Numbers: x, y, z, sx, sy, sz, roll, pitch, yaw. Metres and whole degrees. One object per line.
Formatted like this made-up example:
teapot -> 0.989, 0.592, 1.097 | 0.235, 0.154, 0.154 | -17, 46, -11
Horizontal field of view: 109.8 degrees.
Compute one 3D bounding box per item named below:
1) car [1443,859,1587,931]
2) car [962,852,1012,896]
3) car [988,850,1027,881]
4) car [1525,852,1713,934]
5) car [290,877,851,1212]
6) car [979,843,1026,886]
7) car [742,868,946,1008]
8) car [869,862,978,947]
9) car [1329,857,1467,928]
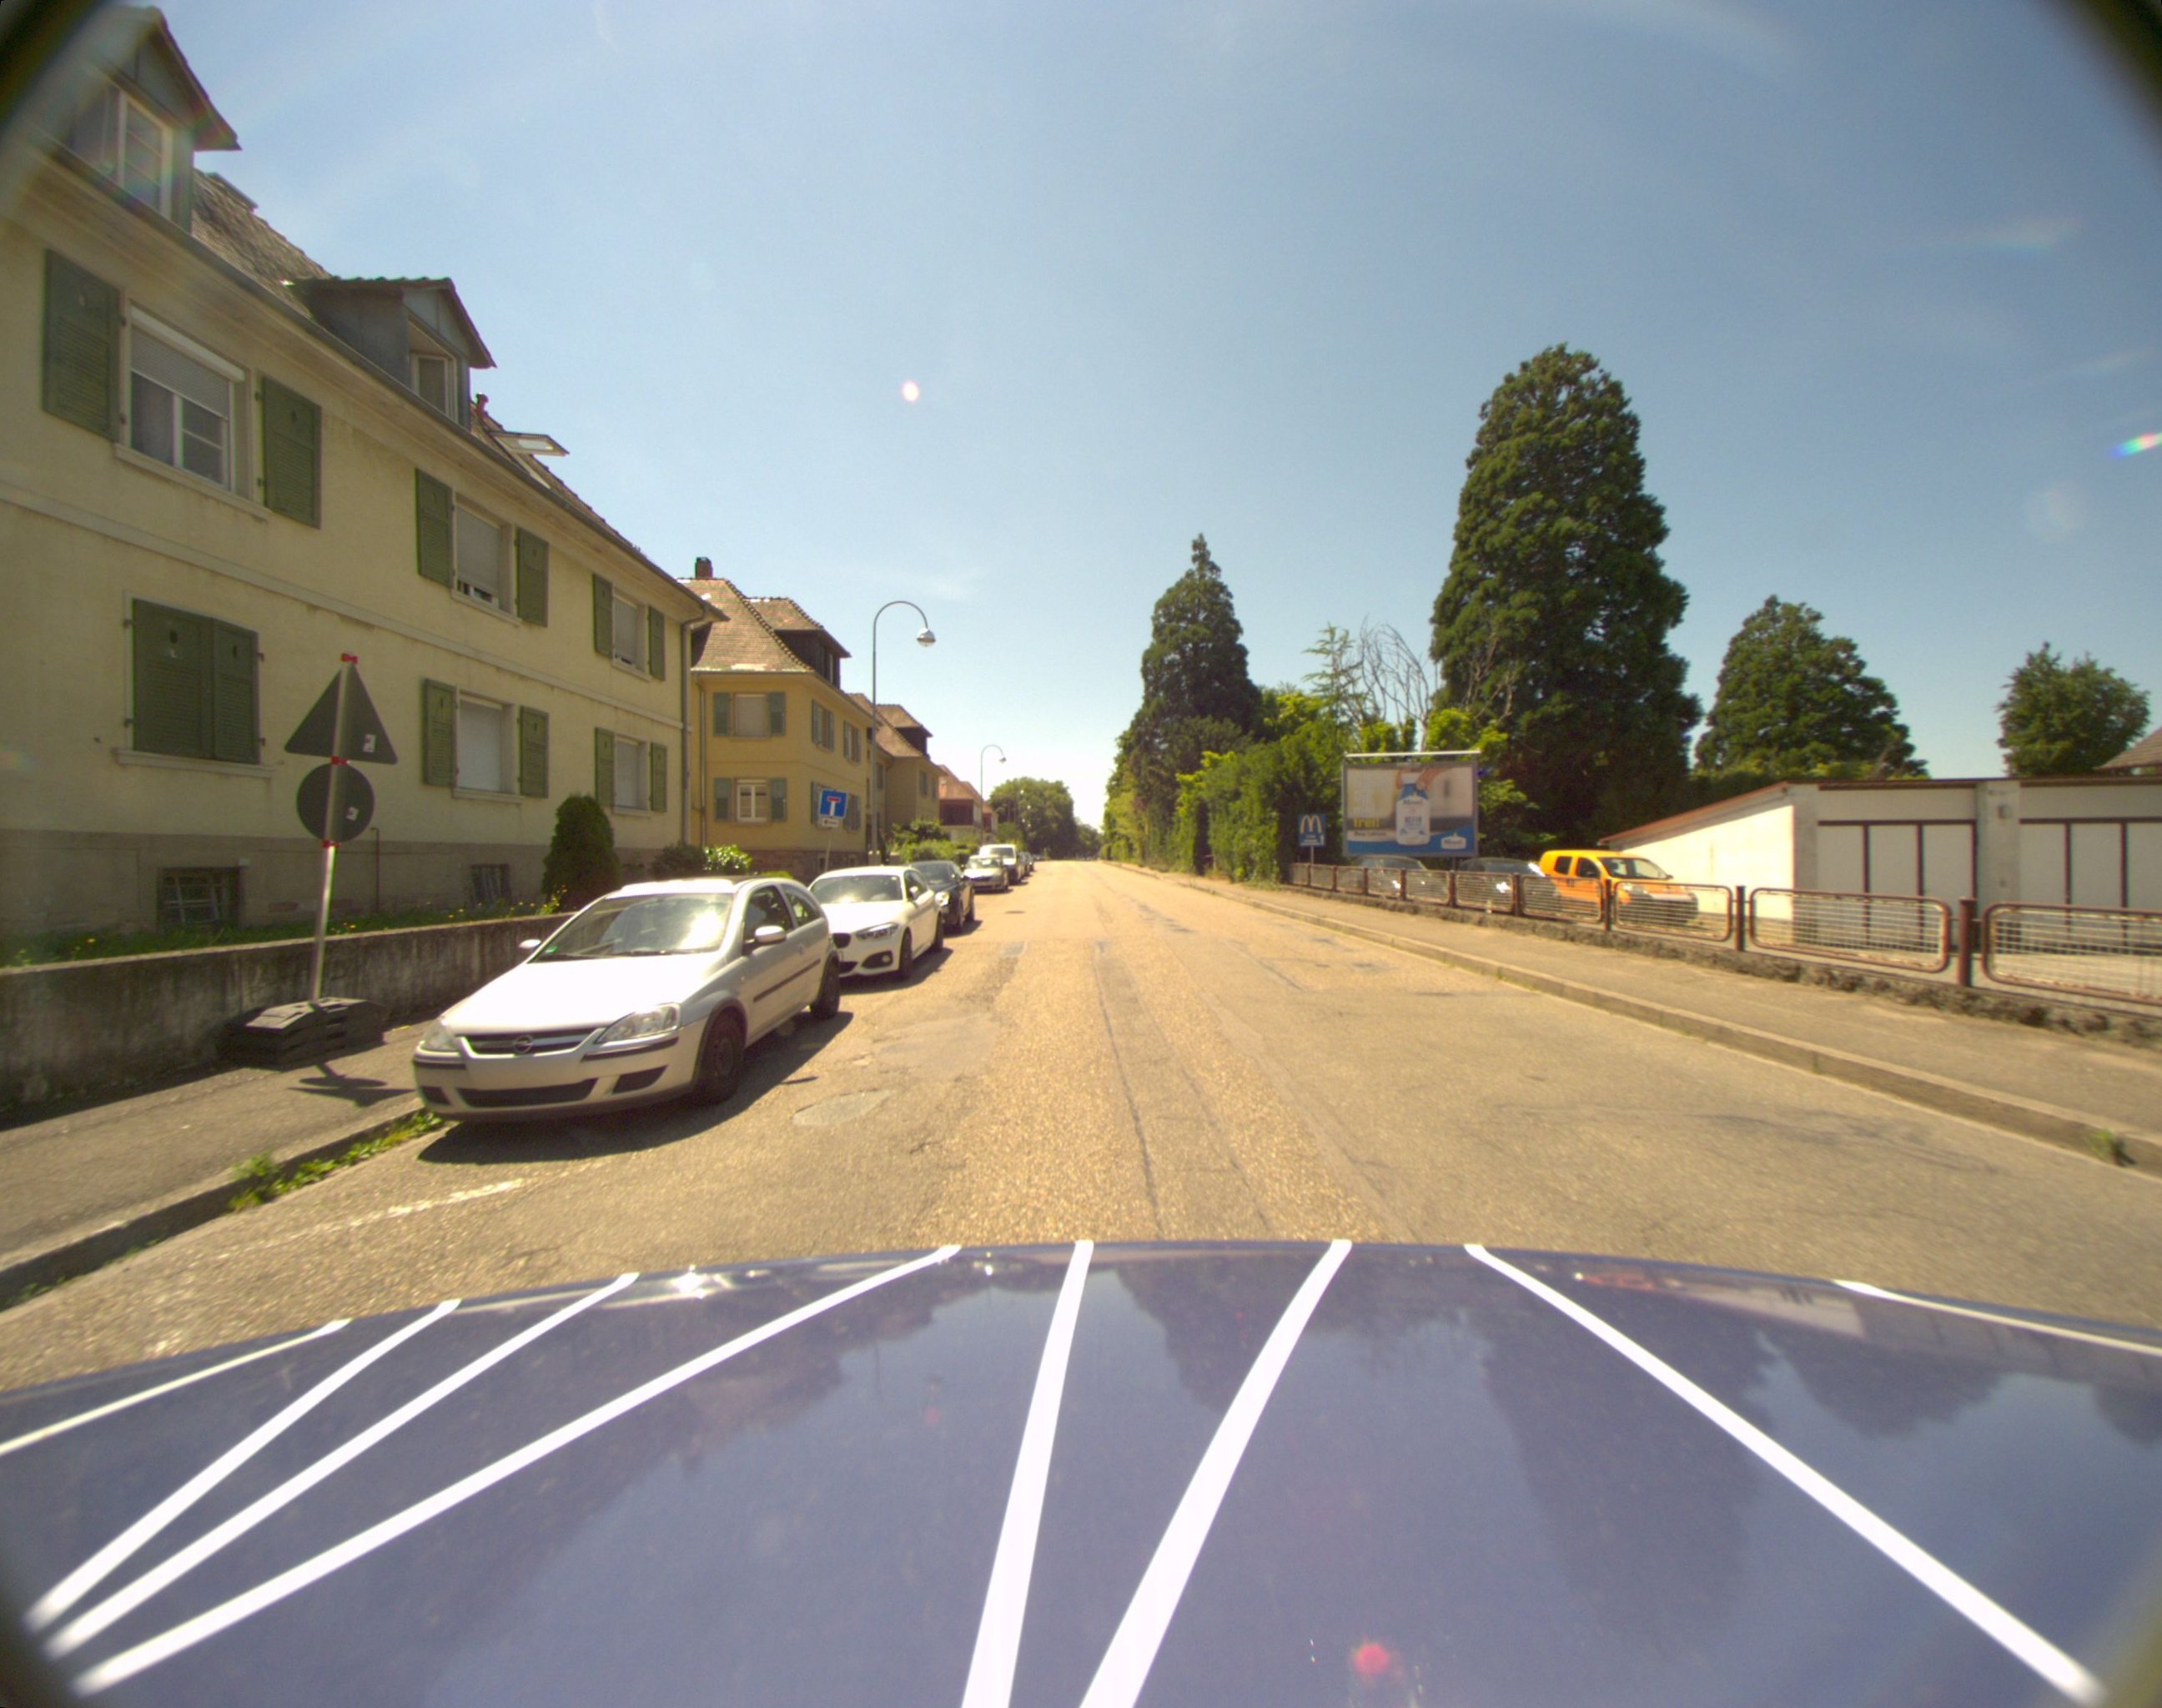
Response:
car -> 10.965, 0.954, 19.543 | 1.797, 1.510, 4.001 | 1, 2, 7
car -> -3.616, 0.738, 29.931 | 1.600, 1.495, 3.998 | -2, 1, -3
car -> -3.977, 0.571, 41.829 | 1.806, 1.505, 4.336 | -2, 1, -2
car -> 13.332, 0.871, 19.170 | 1.799, 1.732, 3.998 | 1, 2, -1
car -> -3.190, 1.028, 5.874 | 1.671, 1.457, 3.998 | -3, 1, -2
car -> -3.690, 0.435, 36.372 | 1.852, 1.858, 4.689 | -2, 1, -2
car -> -3.066, 0.994, 10.703 | 1.671, 1.427, 3.999 | -3, 1, -2
car -> -3.197, 0.958, 16.141 | 1.600, 1.422, 3.998 | -3, 1, -3
car -> 8.011, 0.901, 19.646 | 1.799, 1.510, 3.998 | 1, 2, -1
